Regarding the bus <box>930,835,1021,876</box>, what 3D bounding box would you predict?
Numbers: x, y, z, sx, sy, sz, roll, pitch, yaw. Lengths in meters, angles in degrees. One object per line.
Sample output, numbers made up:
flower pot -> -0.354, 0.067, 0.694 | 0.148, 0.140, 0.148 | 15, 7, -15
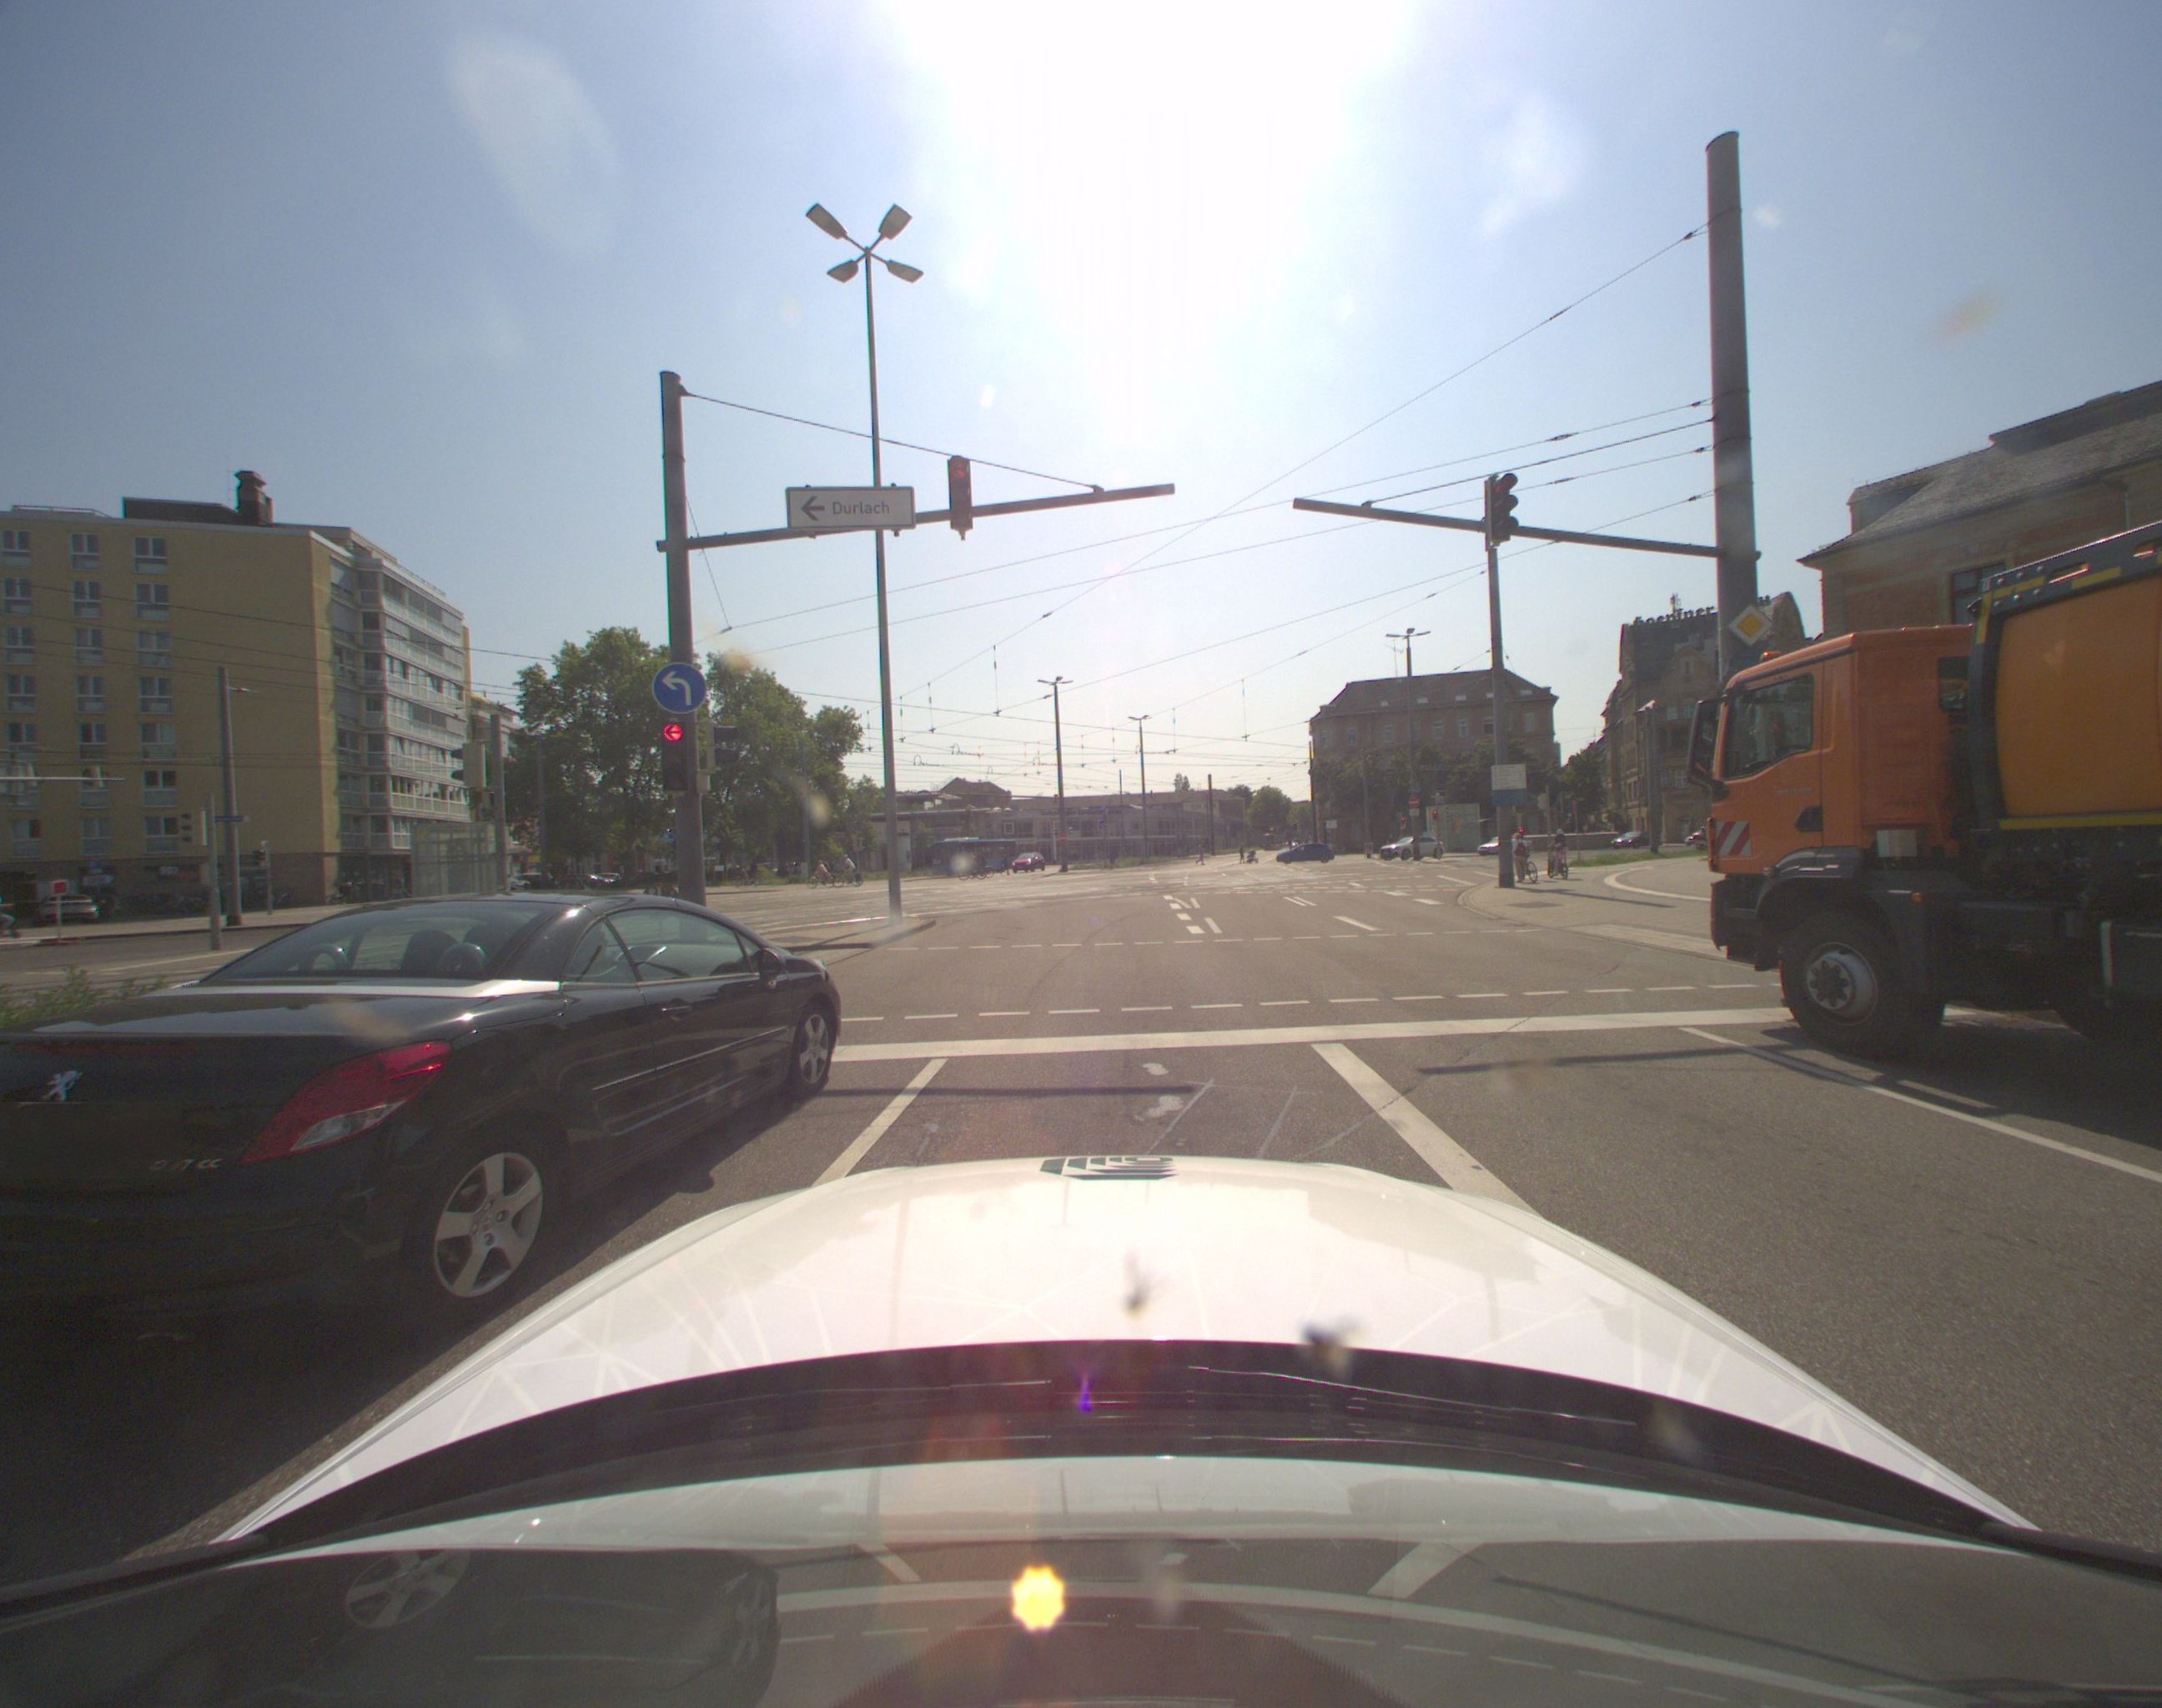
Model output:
bus -> -8.723, 0.050, 69.461 | 2.541, 3.082, 12.081 | -3, 0, 18

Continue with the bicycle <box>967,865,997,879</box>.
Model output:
bicycle -> -6.663, 1.211, 54.774 | 1.861, 0.802, 0.604 | -2, 0, -17

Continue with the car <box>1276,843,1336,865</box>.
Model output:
car -> 15.847, -0.011, 57.574 | 3.960, 1.394, 1.601 | -2, 0, 12

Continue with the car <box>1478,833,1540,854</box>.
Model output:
car -> 31.661, -0.763, 60.273 | 4.193, 1.415, 1.762 | -2, 0, -23

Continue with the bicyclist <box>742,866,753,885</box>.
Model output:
bicyclist -> -22.285, 1.434, 54.427 | 0.544, 1.293, 0.557 | -2, 0, -10

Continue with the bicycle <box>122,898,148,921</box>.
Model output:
bicycle -> -53.287, 3.111, 45.864 | 2.754, 1.204, 0.699 | -3, 0, 35

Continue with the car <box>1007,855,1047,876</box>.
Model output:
car -> -4.378, 0.906, 66.242 | 1.735, 1.552, 4.020 | -3, 0, 20

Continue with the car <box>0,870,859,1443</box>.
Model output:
car -> -2.665, 0.830, 4.057 | 1.757, 1.388, 3.787 | -1, 0, 5

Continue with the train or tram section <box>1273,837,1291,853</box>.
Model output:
train or tram section -> 47.367, -2.169, 191.302 | 2.566, 3.516, 13.039 | -2, 0, 20

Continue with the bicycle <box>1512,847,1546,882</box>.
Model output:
bicycle -> 14.380, 0.318, 26.182 | 0.532, 1.055, 1.660 | -2, 0, 14

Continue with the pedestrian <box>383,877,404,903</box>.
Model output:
pedestrian -> -42.340, 2.184, 50.149 | 0.862, 1.543, 0.735 | -2, 0, -33

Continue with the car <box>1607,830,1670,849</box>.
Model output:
car -> 46.341, -1.220, 67.667 | 4.767, 1.415, 1.765 | -2, 0, -18

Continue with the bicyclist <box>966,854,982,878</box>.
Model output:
bicyclist -> -6.685, 0.731, 50.849 | 0.871, 1.483, 0.496 | -2, 0, -11

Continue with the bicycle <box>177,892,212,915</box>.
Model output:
bicycle -> -50.708, 2.814, 46.567 | 3.220, 1.204, 0.916 | -3, 0, 35

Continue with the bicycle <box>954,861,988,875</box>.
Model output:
bicycle -> -6.844, 0.871, 50.843 | 2.049, 0.802, 0.477 | -2, 0, -11

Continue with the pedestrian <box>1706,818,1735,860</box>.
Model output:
pedestrian -> 26.846, -0.637, 34.187 | 0.549, 1.724, 0.812 | -2, 0, -40

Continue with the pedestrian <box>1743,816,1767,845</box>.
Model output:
pedestrian -> 28.998, -1.003, 35.033 | 0.658, 1.214, 0.531 | -2, 0, 30

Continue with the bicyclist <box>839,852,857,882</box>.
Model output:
bicyclist -> -14.280, 0.803, 49.863 | 0.924, 1.807, 0.495 | -2, 0, -11

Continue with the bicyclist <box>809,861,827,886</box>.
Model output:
bicyclist -> -16.550, 1.240, 51.293 | 0.907, 1.508, 0.559 | -2, 0, -2

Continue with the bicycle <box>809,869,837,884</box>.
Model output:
bicycle -> -17.891, 1.565, 56.493 | 1.815, 0.942, 0.414 | -2, 0, -11

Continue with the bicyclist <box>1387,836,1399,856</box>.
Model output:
bicyclist -> 23.954, -0.604, 62.580 | 0.614, 1.528, 0.517 | -2, 0, -23

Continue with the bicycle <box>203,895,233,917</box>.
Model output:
bicycle -> -49.741, 3.000, 46.935 | 3.220, 1.204, 0.699 | -3, 0, 35

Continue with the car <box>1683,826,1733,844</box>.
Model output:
car -> 55.803, -1.666, 72.493 | 4.208, 1.415, 1.762 | -2, 0, -24

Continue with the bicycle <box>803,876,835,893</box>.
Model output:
bicycle -> -16.497, 1.928, 51.298 | 1.809, 0.942, 0.567 | -2, 0, -2

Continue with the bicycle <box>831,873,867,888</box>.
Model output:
bicycle -> -14.214, 1.608, 49.879 | 2.049, 0.802, 0.477 | -2, 0, -11

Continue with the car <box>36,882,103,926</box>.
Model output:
car -> -48.534, 2.370, 39.138 | 3.949, 1.925, 1.815 | -3, 0, 41

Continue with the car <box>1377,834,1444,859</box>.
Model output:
car -> 23.152, -0.524, 57.203 | 4.341, 1.618, 1.741 | -2, 0, -24

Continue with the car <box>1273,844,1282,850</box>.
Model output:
car -> 52.072, -1.973, 215.645 | 1.782, 1.508, 4.021 | -2, 0, 22

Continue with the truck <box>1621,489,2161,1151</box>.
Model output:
truck -> 6.407, -0.180, 4.569 | 2.481, 3.134, 6.867 | -1, 0, 3

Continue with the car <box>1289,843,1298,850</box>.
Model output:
car -> 55.943, -1.993, 214.334 | 1.804, 1.809, 4.019 | -1, -1, 19

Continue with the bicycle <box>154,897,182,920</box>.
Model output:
bicycle -> -51.931, 3.077, 46.313 | 3.220, 1.204, 0.699 | -3, 0, 35

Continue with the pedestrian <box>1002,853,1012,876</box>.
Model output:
pedestrian -> -5.428, 0.768, 59.813 | 0.554, 1.684, 0.451 | -2, 0, -17

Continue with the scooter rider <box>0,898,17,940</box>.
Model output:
scooter rider -> -35.939, 2.168, 26.912 | 0.685, 1.353, 0.608 | -2, 0, -3

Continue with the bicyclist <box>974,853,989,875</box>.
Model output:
bicyclist -> -6.682, 0.679, 54.776 | 0.873, 1.475, 0.543 | -2, 0, -16

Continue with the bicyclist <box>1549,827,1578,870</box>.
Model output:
bicyclist -> 15.959, -0.182, 26.937 | 0.526, 1.393, 0.897 | -2, 0, 14

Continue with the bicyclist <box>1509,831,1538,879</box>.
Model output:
bicyclist -> 14.384, 0.026, 26.493 | 0.623, 1.517, 0.714 | -2, 0, 13

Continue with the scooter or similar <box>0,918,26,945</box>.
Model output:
scooter or similar -> -35.835, 2.587, 26.888 | 0.519, 0.824, 1.142 | -2, 0, -4

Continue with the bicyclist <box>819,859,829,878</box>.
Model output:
bicyclist -> -17.796, 0.986, 56.410 | 0.544, 1.293, 0.557 | -2, 0, -10

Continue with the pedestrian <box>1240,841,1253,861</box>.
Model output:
pedestrian -> 13.368, -0.230, 65.866 | 0.849, 1.545, 0.527 | -2, 0, -7

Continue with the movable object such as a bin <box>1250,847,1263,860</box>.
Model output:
movable object such as a bin -> 14.207, -0.044, 65.949 | 0.812, 1.077, 0.510 | -2, 0, -9

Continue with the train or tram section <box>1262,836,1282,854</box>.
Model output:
train or tram section -> 40.135, -1.972, 170.893 | 2.566, 3.516, 10.954 | -2, 0, 20

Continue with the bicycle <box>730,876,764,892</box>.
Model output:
bicycle -> -22.340, 2.019, 54.463 | 2.033, 0.942, 0.466 | -2, 0, -11

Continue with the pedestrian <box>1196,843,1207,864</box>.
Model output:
pedestrian -> 9.620, -0.039, 65.189 | 0.699, 1.603, 0.572 | -2, 0, -6

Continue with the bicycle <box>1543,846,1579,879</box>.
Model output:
bicycle -> 16.063, 0.255, 27.286 | 0.532, 1.055, 1.660 | -2, 0, 14
